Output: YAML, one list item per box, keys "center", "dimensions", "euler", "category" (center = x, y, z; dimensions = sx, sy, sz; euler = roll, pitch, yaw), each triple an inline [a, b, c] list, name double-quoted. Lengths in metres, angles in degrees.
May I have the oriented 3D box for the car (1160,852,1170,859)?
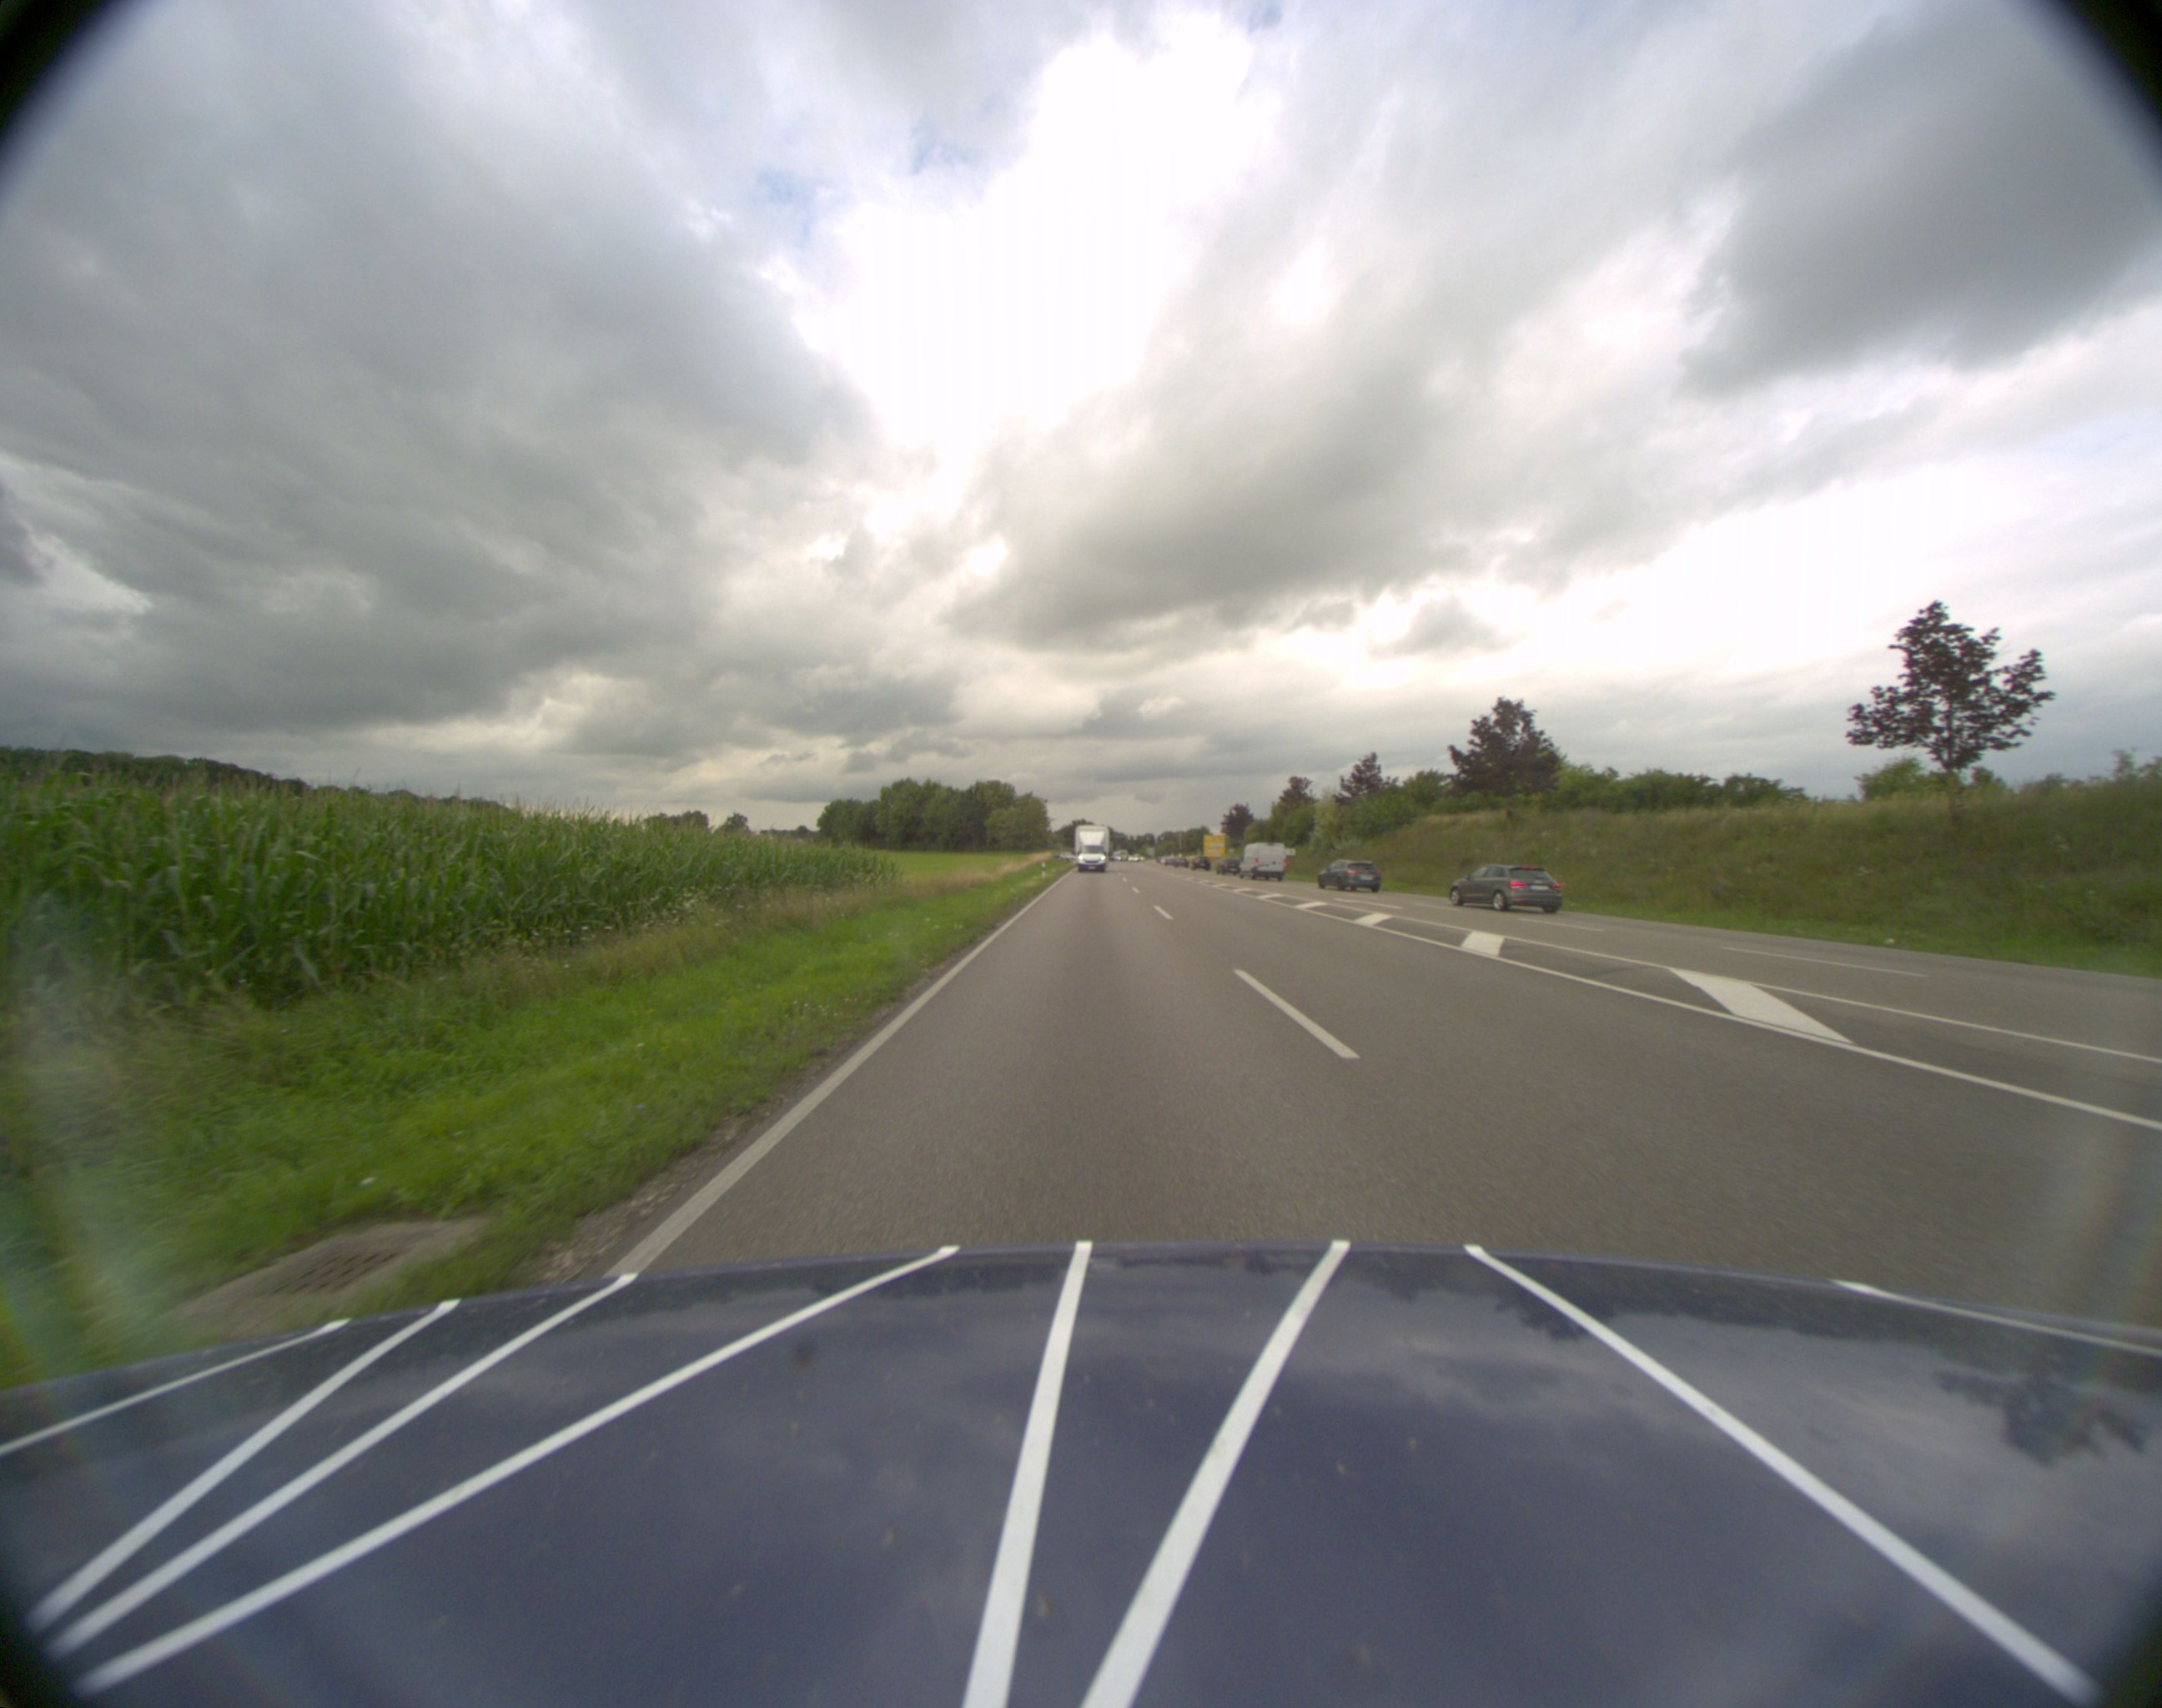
- center: [17.901, 0.367, 162.182]
  dimensions: [1.611, 1.406, 4.056]
  euler: [1, 0, 2]
  category: "car"

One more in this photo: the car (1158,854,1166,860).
- center: [20.494, 0.776, 192.767]
  dimensions: [1.727, 1.472, 4.660]
  euler: [2, 0, 4]
  category: "car"

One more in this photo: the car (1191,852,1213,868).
- center: [13.538, 0.657, 85.136]
  dimensions: [1.798, 1.624, 4.516]
  euler: [3, 0, 2]
  category: "car"

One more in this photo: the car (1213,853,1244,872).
- center: [12.621, 0.733, 65.162]
  dimensions: [1.737, 1.521, 4.193]
  euler: [2, 0, -1]
  category: "car"

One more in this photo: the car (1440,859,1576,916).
- center: [12.911, 0.955, 23.300]
  dimensions: [1.737, 1.521, 4.193]
  euler: [2, 0, -1]
  category: "car"

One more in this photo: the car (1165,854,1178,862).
- center: [15.887, 0.712, 133.832]
  dimensions: [1.798, 1.397, 4.706]
  euler: [3, 0, 2]
  category: "car"

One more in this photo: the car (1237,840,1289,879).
- center: [12.425, 0.359, 52.260]
  dimensions: [2.038, 2.425, 5.634]
  euler: [2, 0, -1]
  category: "car"

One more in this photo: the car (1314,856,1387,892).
- center: [12.735, 0.907, 36.204]
  dimensions: [1.737, 1.521, 4.548]
  euler: [2, 0, -1]
  category: "car"

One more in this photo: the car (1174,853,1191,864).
- center: [14.620, 0.692, 109.650]
  dimensions: [1.798, 1.502, 4.706]
  euler: [3, 0, 2]
  category: "car"

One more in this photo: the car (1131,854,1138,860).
- center: [13.796, 0.764, 195.322]
  dimensions: [1.860, 1.274, 4.001]
  euler: [2, 0, 4]
  category: "car"

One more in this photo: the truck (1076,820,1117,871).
- center: [1.136, -0.633, 58.769]
  dimensions: [2.934, 3.652, 8.442]
  euler: [0, 0, 0]
  category: "truck"

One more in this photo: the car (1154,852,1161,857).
- center: [24.741, 0.186, 246.536]
  dimensions: [1.855, 1.706, 4.130]
  euler: [0, 0, 2]
  category: "car"
